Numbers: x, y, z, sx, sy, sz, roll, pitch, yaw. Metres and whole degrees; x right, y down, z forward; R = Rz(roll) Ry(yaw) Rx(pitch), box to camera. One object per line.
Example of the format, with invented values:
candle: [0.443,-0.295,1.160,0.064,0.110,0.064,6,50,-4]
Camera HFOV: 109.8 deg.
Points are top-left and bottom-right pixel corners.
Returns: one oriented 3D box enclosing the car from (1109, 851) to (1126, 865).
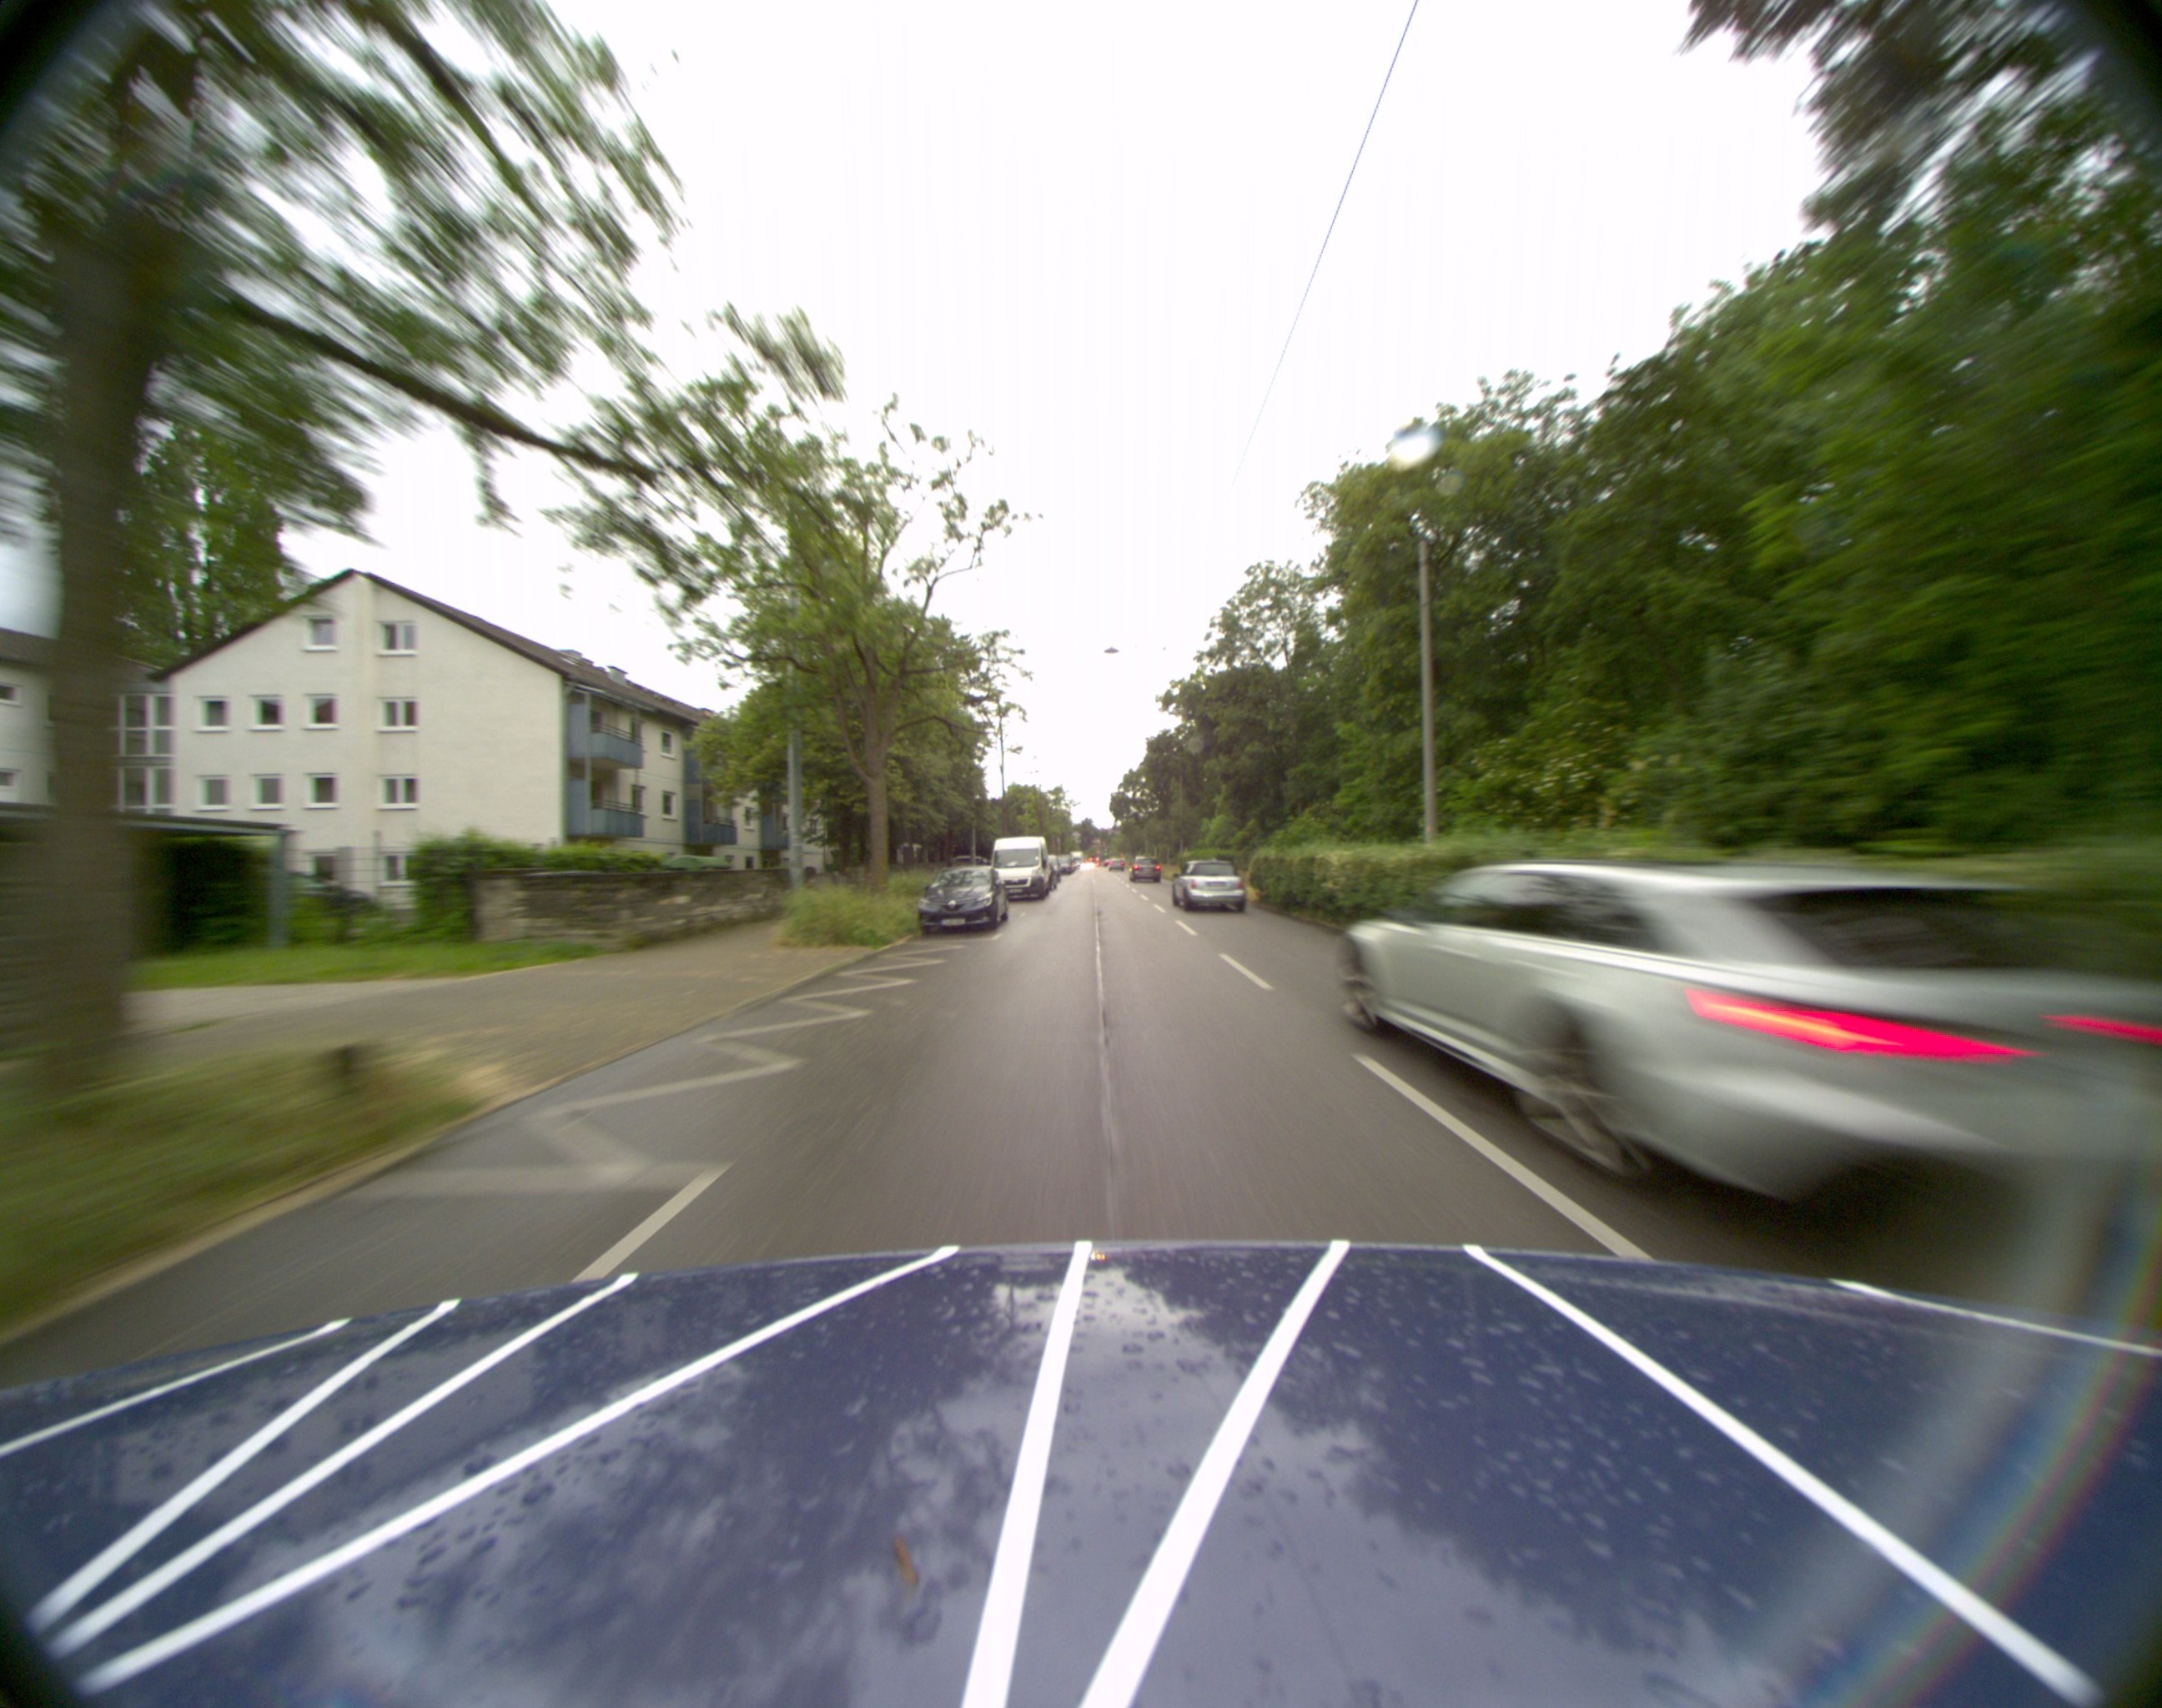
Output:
car: [4.326,0.463,90.137,1.788,1.471,3.967,-1,1,1]

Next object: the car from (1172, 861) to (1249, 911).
car: [3.687,0.876,22.233,1.690,1.348,3.724,0,-1,1]

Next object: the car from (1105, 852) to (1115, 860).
car: [5.313,0.400,140.114,1.865,1.471,4.156,0,0,1]

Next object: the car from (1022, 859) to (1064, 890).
car: [-1.887,1.011,39.088,1.629,1.455,3.809,-3,-1,4]

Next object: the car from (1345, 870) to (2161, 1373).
car: [3.236,0.868,4.529,1.860,1.459,4.447,1,-1,2]

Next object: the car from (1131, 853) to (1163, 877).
car: [4.104,0.691,47.640,1.734,1.483,4.001,0,-1,1]

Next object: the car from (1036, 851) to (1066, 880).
car: [-1.973,0.762,51.325,1.819,1.802,4.283,-3,-1,-1]

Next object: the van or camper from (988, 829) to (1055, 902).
van or camper: [-2.306,0.462,30.754,2.083,2.635,5.347,-3,-1,1]

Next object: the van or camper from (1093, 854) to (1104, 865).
van or camper: [5.432,1.704,234.862,2.862,3.159,6.852,-3,-1,3]

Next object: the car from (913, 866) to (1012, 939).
car: [-2.688,1.057,18.070,1.745,1.470,3.963,-3,-1,-1]

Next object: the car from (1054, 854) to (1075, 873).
car: [-1.586,0.933,74.901,1.778,1.712,4.327,-3,-1,1]

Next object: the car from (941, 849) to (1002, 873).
car: [-8.316,0.493,57.916,4.319,1.672,2.000,1,1,2]
